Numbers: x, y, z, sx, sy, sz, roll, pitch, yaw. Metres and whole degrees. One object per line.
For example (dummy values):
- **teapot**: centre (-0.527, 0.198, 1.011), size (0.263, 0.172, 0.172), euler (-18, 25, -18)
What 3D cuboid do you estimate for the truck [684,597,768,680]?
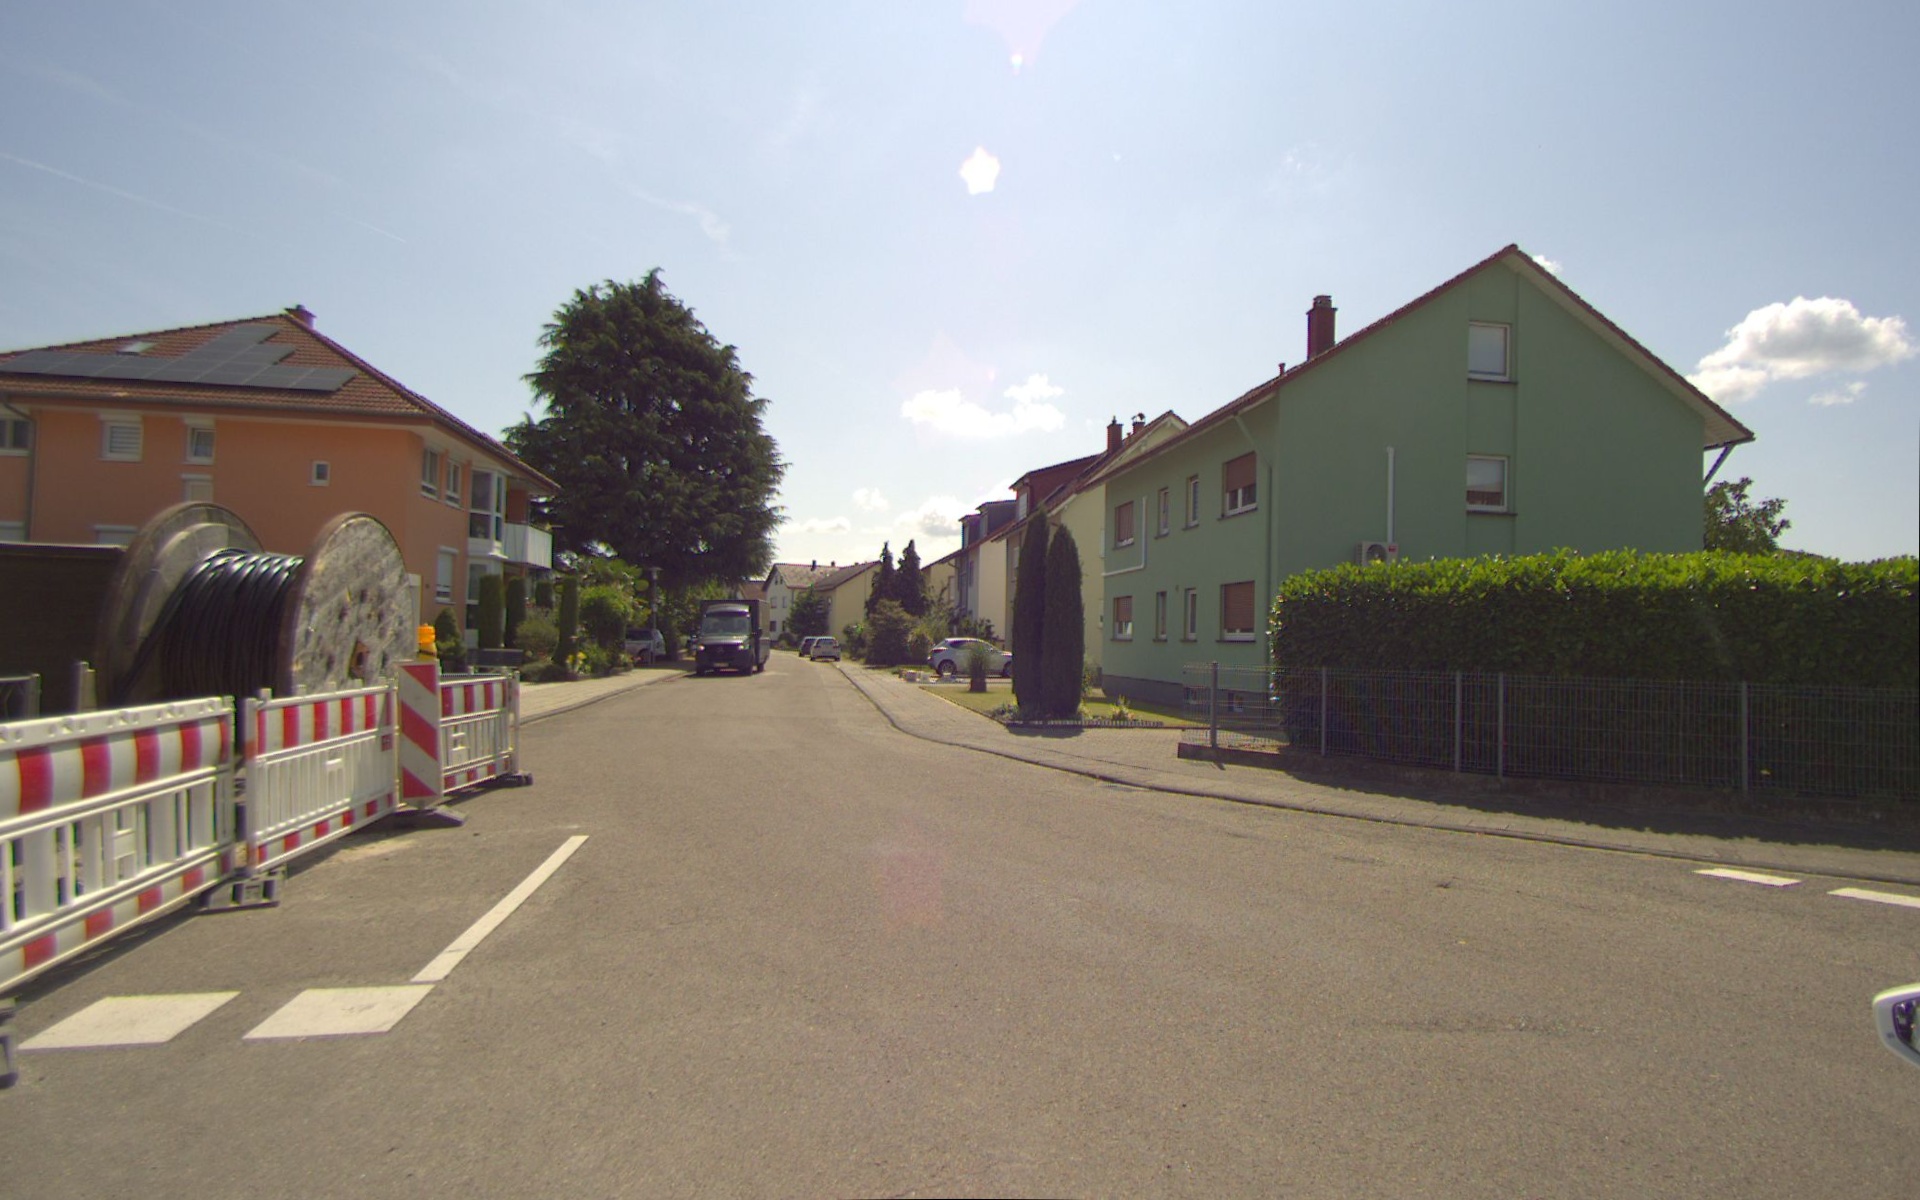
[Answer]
- **truck**: centre (-8.791, 1.446, 38.422), size (2.396, 2.824, 7.290), euler (-1, -2, -8)

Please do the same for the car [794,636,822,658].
- **car**: centre (-11.390, 3.509, 75.113), size (1.782, 1.514, 3.992), euler (2, -2, -12)

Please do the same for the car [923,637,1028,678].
- **car**: centre (0.574, 2.249, 39.226), size (3.855, 1.529, 1.771), euler (1, -2, -9)

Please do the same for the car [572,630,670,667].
- **car**: centre (-16.265, 2.344, 48.420), size (4.128, 1.675, 1.812), euler (2, -2, -7)

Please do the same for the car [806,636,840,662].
- **car**: centre (-8.545, 3.019, 62.587), size (1.782, 1.514, 3.992), euler (2, -2, -12)

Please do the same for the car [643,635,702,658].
- **car**: centre (-22.125, 3.548, 77.398), size (4.128, 1.675, 1.812), euler (2, -2, -7)
